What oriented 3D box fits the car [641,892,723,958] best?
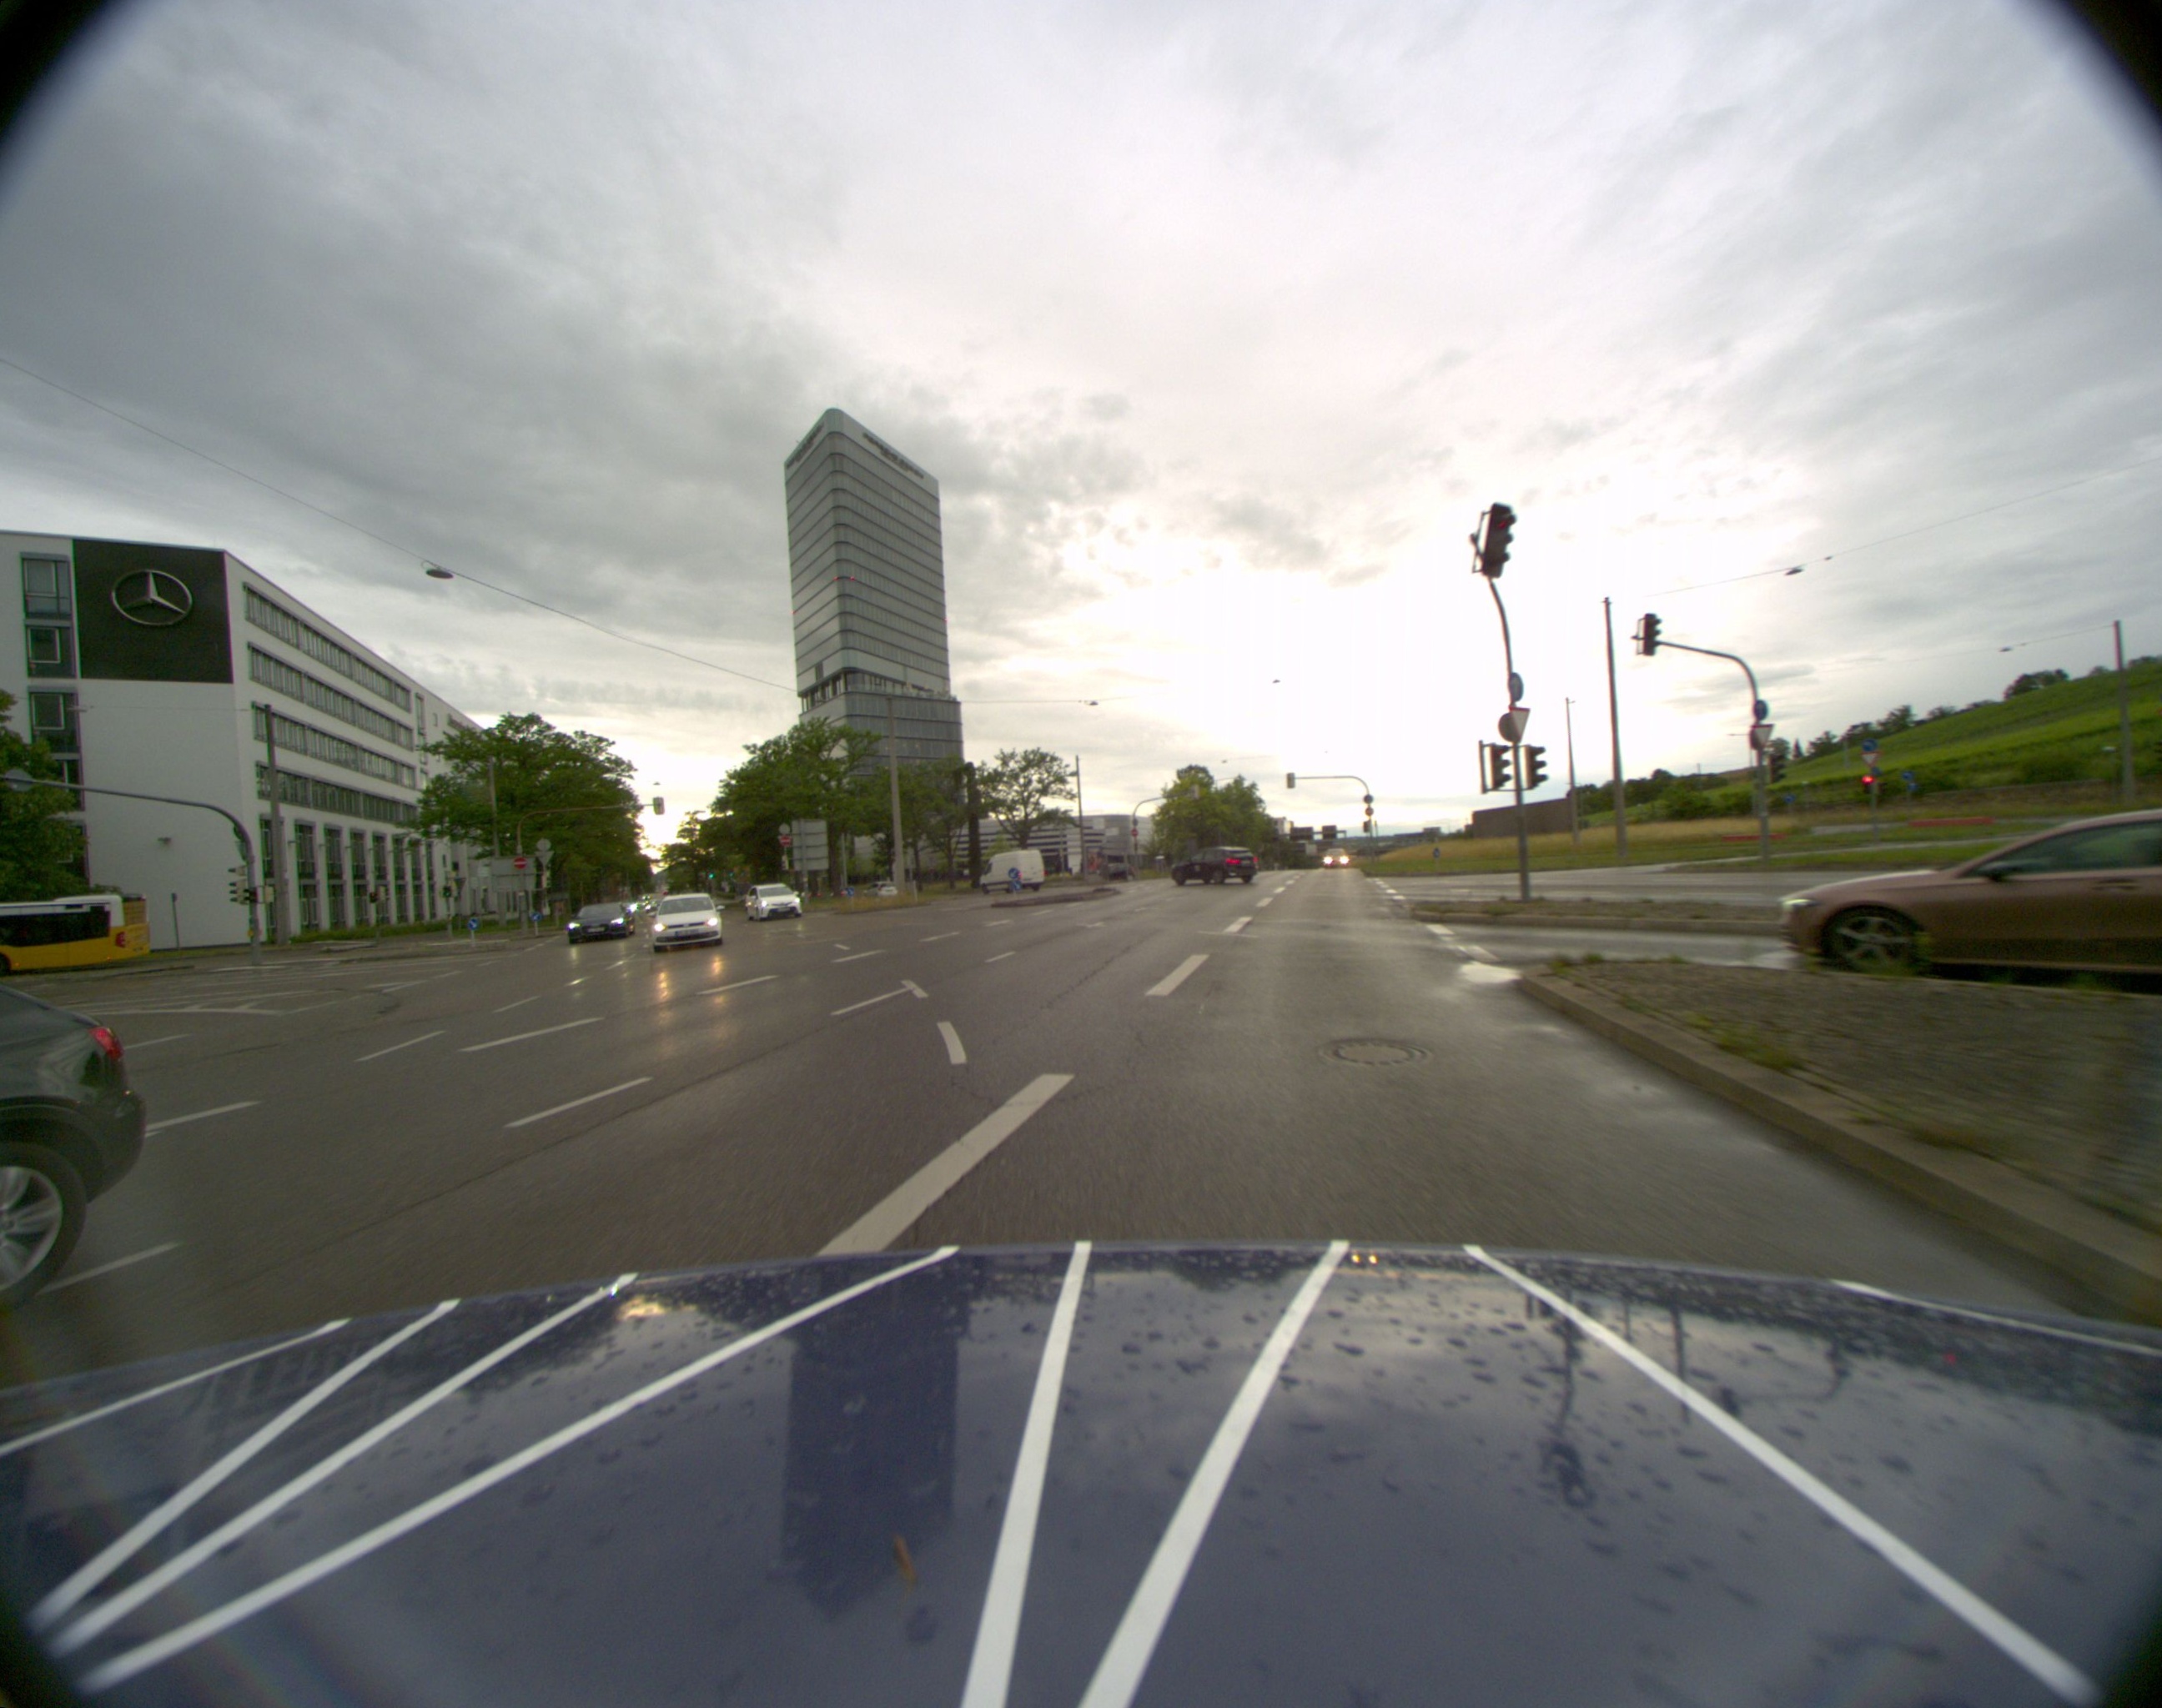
[{"bbox_3d":[-11.212,1.892,21.318,1.733,1.464,4.255,-5,0,-29],"label":"car"}]

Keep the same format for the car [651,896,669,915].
[{"bbox_3d":[-49.455,5.982,89.204,1.614,2.002,3.625,-4,0,-27],"label":"car"}]

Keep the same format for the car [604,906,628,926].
[{"bbox_3d":[-43.857,5.827,71.726,1.614,1.505,3.625,-4,0,-27],"label":"car"}]

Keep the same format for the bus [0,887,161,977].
[{"bbox_3d":[-44.138,3.300,28.607,11.863,3.182,1.995,-4,1,-34],"label":"bus"}]

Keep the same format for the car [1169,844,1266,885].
[{"bbox_3d":[6.054,0.503,34.223,1.741,1.587,4.332,-4,0,-32],"label":"car"}]

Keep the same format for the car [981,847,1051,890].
[{"bbox_3d":[-4.356,0.992,50.170,1.934,2.569,5.447,-4,0,-36],"label":"car"}]

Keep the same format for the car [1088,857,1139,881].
[{"bbox_3d":[2.684,1.256,62.974,4.007,1.703,1.799,-4,1,-42],"label":"car"}]

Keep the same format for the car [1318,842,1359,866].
[{"bbox_3d":[19.205,-0.015,56.563,1.792,1.579,3.912,-3,0,34],"label":"car"}]

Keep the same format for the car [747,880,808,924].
[{"bbox_3d":[-13.779,2.093,34.335,1.830,1.575,4.287,-6,2,-30],"label":"car"}]

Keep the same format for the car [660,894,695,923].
[{"bbox_3d":[-23.373,3.105,43.960,1.572,1.406,3.871,-4,0,-30],"label":"car"}]

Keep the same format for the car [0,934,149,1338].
[{"bbox_3d":[-4.900,1.157,1.317,1.731,1.525,4.124,-3,0,-8],"label":"car"}]

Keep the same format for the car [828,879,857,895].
[{"bbox_3d":[-24.812,3.456,78.981,1.787,1.476,4.047,-4,0,-33],"label":"car"}]

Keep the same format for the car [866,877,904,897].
[{"bbox_3d":[-15.696,2.634,60.714,1.685,1.476,3.783,-4,0,-33],"label":"car"}]

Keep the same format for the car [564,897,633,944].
[{"bbox_3d":[-17.998,2.435,28.505,1.762,1.390,3.992,-4,0,-27],"label":"car"}]

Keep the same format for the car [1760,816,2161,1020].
[{"bbox_3d":[8.689,0.454,6.173,1.741,1.453,4.333,-4,0,-24],"label":"car"}]
